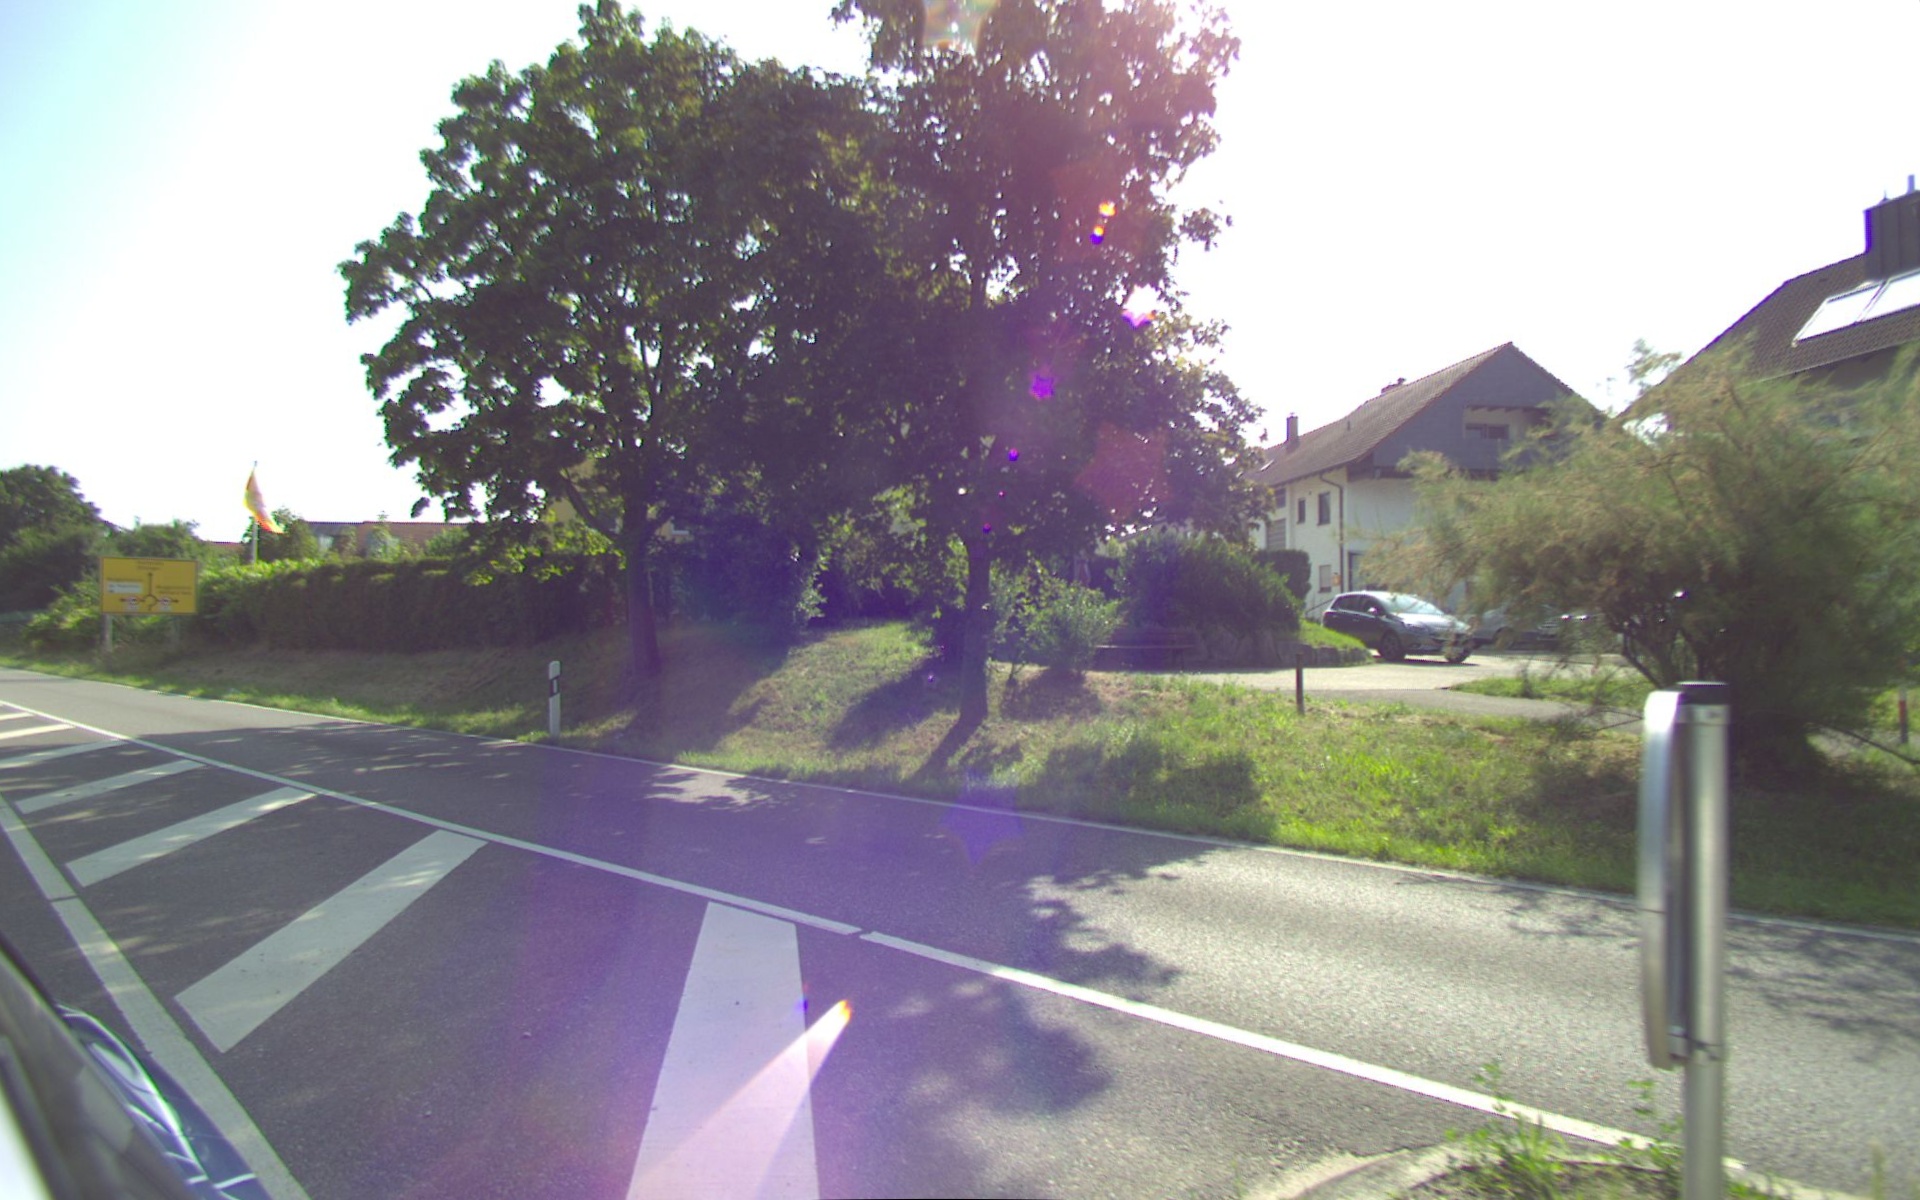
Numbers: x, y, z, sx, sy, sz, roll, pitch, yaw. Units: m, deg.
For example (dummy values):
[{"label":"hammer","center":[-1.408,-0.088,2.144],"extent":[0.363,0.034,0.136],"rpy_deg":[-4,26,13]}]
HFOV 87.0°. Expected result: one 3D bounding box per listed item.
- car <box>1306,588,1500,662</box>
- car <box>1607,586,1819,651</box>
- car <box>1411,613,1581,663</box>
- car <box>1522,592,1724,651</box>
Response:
[{"label":"car","center":[9.725,0.579,22.627],"extent":[1.838,1.474,4.243],"rpy_deg":[-1,-2,-11]},{"label":"car","center":[17.908,0.459,24.184],"extent":[3.716,1.473,1.748],"rpy_deg":[0,-2,-2]},{"label":"car","center":[15.764,1.108,29.892],"extent":[4.024,1.383,1.813],"rpy_deg":[0,-2,-2]},{"label":"car","center":[17.434,0.573,26.734],"extent":[4.078,1.459,1.870],"rpy_deg":[0,-2,-2]}]
